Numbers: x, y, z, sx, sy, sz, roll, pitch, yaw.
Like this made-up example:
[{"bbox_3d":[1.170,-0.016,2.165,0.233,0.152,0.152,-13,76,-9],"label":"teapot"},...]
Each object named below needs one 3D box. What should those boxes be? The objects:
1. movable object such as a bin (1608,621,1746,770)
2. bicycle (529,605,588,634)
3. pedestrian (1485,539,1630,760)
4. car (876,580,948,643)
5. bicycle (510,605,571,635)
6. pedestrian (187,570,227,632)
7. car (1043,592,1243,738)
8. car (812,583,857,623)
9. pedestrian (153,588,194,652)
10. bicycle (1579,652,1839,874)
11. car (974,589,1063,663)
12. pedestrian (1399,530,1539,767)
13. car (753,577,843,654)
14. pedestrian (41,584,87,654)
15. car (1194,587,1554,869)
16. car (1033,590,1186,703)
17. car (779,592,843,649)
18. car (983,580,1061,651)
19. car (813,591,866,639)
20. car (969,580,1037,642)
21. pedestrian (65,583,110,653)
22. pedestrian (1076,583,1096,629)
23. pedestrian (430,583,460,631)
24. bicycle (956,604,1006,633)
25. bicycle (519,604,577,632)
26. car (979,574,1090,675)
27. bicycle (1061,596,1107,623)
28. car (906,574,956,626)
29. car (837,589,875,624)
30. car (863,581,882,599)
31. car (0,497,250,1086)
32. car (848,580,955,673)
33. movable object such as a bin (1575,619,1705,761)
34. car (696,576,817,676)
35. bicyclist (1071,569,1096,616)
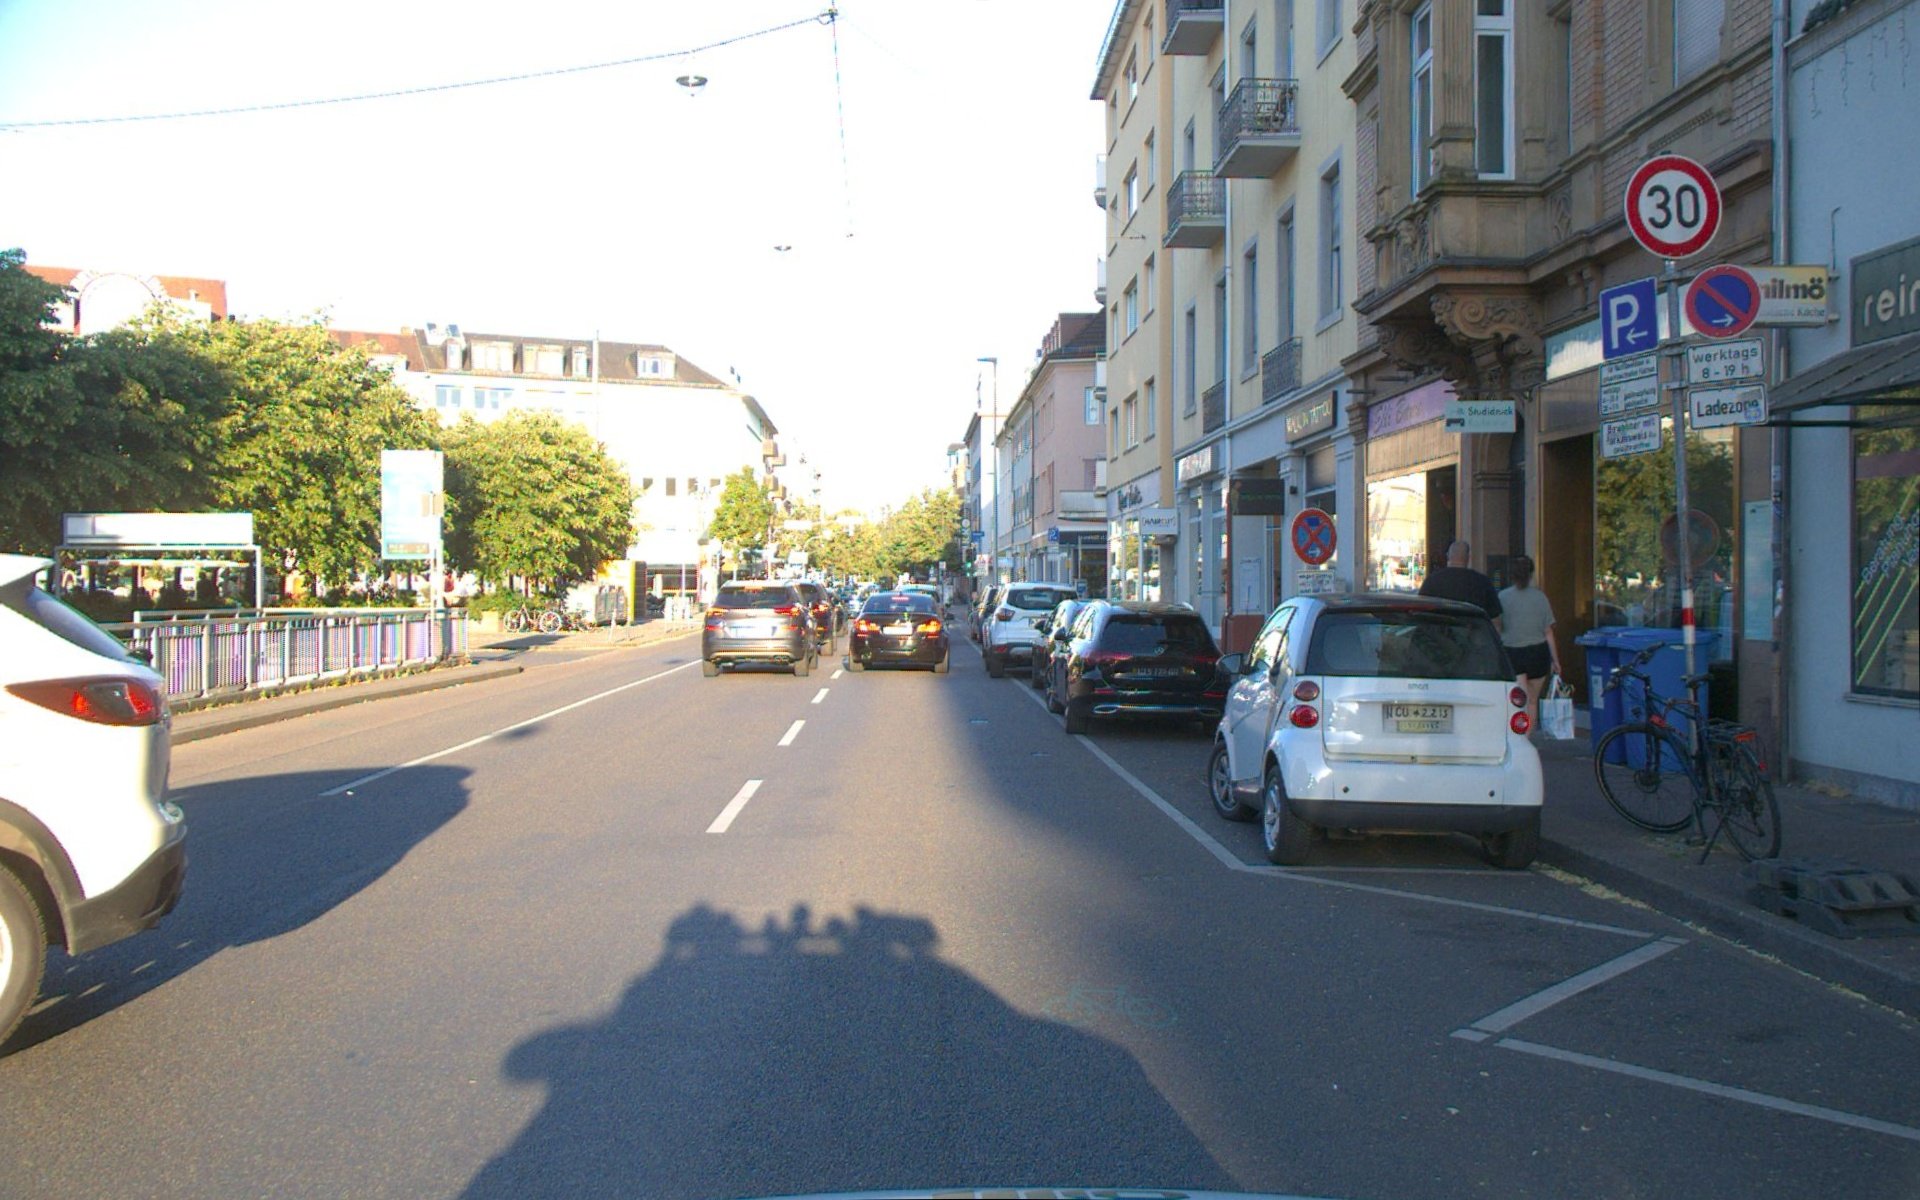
[{"bbox_3d":[5.568,0.727,12.870,0.759,1.089,0.617,-2,0,-3],"label":"movable object such as a bin"},{"bbox_3d":[-13.201,0.635,54.451,1.790,0.868,0.483,3,0,-6],"label":"bicycle"},{"bbox_3d":[4.937,0.385,13.722,0.757,1.741,1.041,-2,1,-3],"label":"pedestrian"},{"bbox_3d":[-1.361,0.283,45.665,1.859,1.608,3.998,1,0,-3],"label":"car"},{"bbox_3d":[-13.350,0.644,52.640,1.790,0.868,0.483,3,0,-6],"label":"bicycle"},{"bbox_3d":[-20.105,0.026,44.174,0.773,1.622,0.568,1,0,17],"label":"pedestrian"},{"bbox_3d":[2.024,0.678,19.500,1.695,1.473,4.523,2,0,-2],"label":"car"},{"bbox_3d":[-5.076,0.086,67.247,1.744,1.574,3.998,0,1,-3],"label":"car"},{"bbox_3d":[-20.200,0.507,42.474,0.773,1.622,0.568,1,0,17],"label":"pedestrian"},{"bbox_3d":[4.145,0.852,9.322,0.494,1.033,1.946,0,1,-3],"label":"bicycle"},{"bbox_3d":[1.236,0.539,36.322,1.694,1.476,4.311,2,0,-1],"label":"car"},{"bbox_3d":[4.170,0.378,13.618,0.757,1.859,1.010,-2,1,-3],"label":"pedestrian"},{"bbox_3d":[-3.695,0.330,38.341,1.859,1.678,4.102,0,0,-3],"label":"car"},{"bbox_3d":[-20.943,0.437,38.654,0.663,1.622,0.677,1,0,17],"label":"pedestrian"},{"bbox_3d":[2.561,0.722,10.937,1.501,1.563,3.282,1,0,-1],"label":"car"},{"bbox_3d":[2.123,0.625,24.606,1.695,1.473,4.472,2,0,-2],"label":"car"},{"bbox_3d":[-4.394,0.576,49.339,1.744,1.574,3.998,0,1,-3],"label":"car"},{"bbox_3d":[1.521,0.374,41.842,1.695,1.680,3.828,2,0,-2],"label":"car"},{"bbox_3d":[-4.174,0.509,57.733,1.744,1.574,3.998,0,1,-3],"label":"car"},{"bbox_3d":[1.210,0.315,48.053,1.695,1.680,3.969,2,0,-2],"label":"car"},{"bbox_3d":[-20.740,0.423,39.315,0.663,1.622,0.677,1,0,17],"label":"pedestrian"},{"bbox_3d":[5.046,0.245,66.389,0.686,1.843,0.634,1,0,-6],"label":"pedestrian"},{"bbox_3d":[-17.396,0.235,55.916,0.773,1.622,0.568,1,0,17],"label":"pedestrian"},{"bbox_3d":[0.744,0.645,57.974,1.729,0.984,0.490,1,0,3],"label":"bicycle"},{"bbox_3d":[-13.766,0.603,55.338,1.790,0.868,0.483,3,0,-6],"label":"bicycle"},{"bbox_3d":[1.305,0.422,30.561,1.695,1.679,4.283,2,0,-2],"label":"car"},{"bbox_3d":[4.840,0.366,64.548,1.731,0.984,0.490,1,0,25],"label":"bicycle"},{"bbox_3d":[-1.239,-0.028,69.814,1.953,2.048,3.999,2,0,-1],"label":"car"},{"bbox_3d":[-4.914,0.279,78.542,1.744,1.574,3.998,0,1,-3],"label":"car"},{"bbox_3d":[-8.050,-0.940,152.772,1.744,1.574,3.998,0,1,-3],"label":"car"},{"bbox_3d":[-4.695,0.596,4.980,4.414,1.791,1.975,-1,1,-35],"label":"car"},{"bbox_3d":[-1.136,0.460,31.520,1.859,1.608,3.998,1,0,-3],"label":"car"},{"bbox_3d":[5.548,0.724,13.519,0.759,1.089,0.617,-2,0,-3],"label":"movable object such as a bin"},{"bbox_3d":[-3.607,0.420,29.957,1.859,1.678,4.102,0,0,-3],"label":"car"},{"bbox_3d":[4.830,-0.294,64.519,0.814,1.808,0.608,1,0,25],"label":"bicyclist"}]
